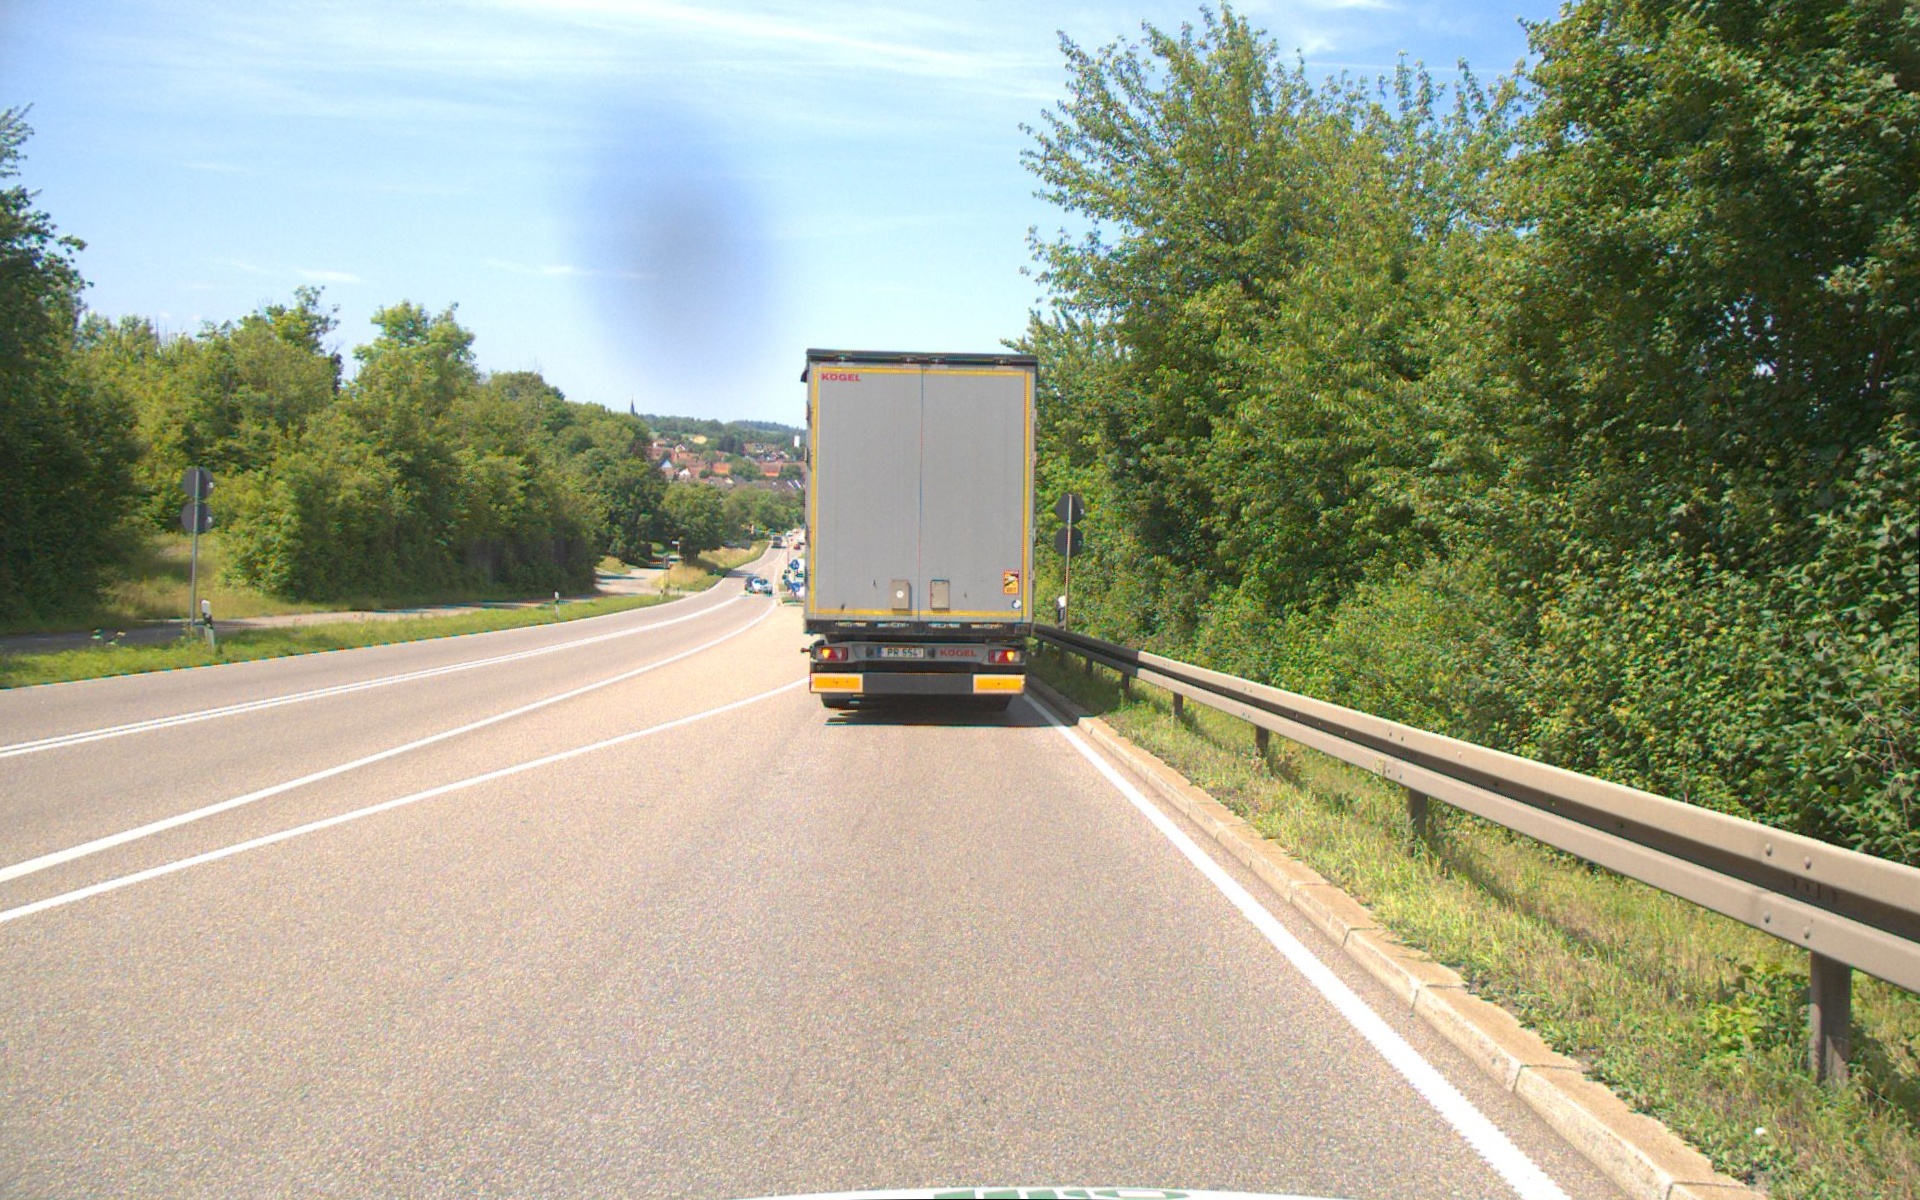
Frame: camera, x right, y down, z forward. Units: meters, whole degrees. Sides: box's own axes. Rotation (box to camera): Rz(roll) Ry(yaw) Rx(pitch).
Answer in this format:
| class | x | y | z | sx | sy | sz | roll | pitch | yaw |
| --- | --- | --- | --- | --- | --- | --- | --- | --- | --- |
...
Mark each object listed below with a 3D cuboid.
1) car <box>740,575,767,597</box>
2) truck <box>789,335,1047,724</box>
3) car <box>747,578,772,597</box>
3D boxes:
| class | x | y | z | sx | sy | sz | roll | pitch | yaw |
| --- | --- | --- | --- | --- | --- | --- | --- | --- | --- |
| car | -18.908 | -1.309 | 151.409 | 1.736 | 1.959 | 3.730 | 1 | 0 | -17 |
| truck | -0.541 | -0.805 | 23.596 | 2.701 | 4.100 | 11.921 | 1 | 1 | -1 |
| car | -19.480 | -1.214 | 160.551 | 1.776 | 1.825 | 3.825 | 1 | 0 | -16 |
